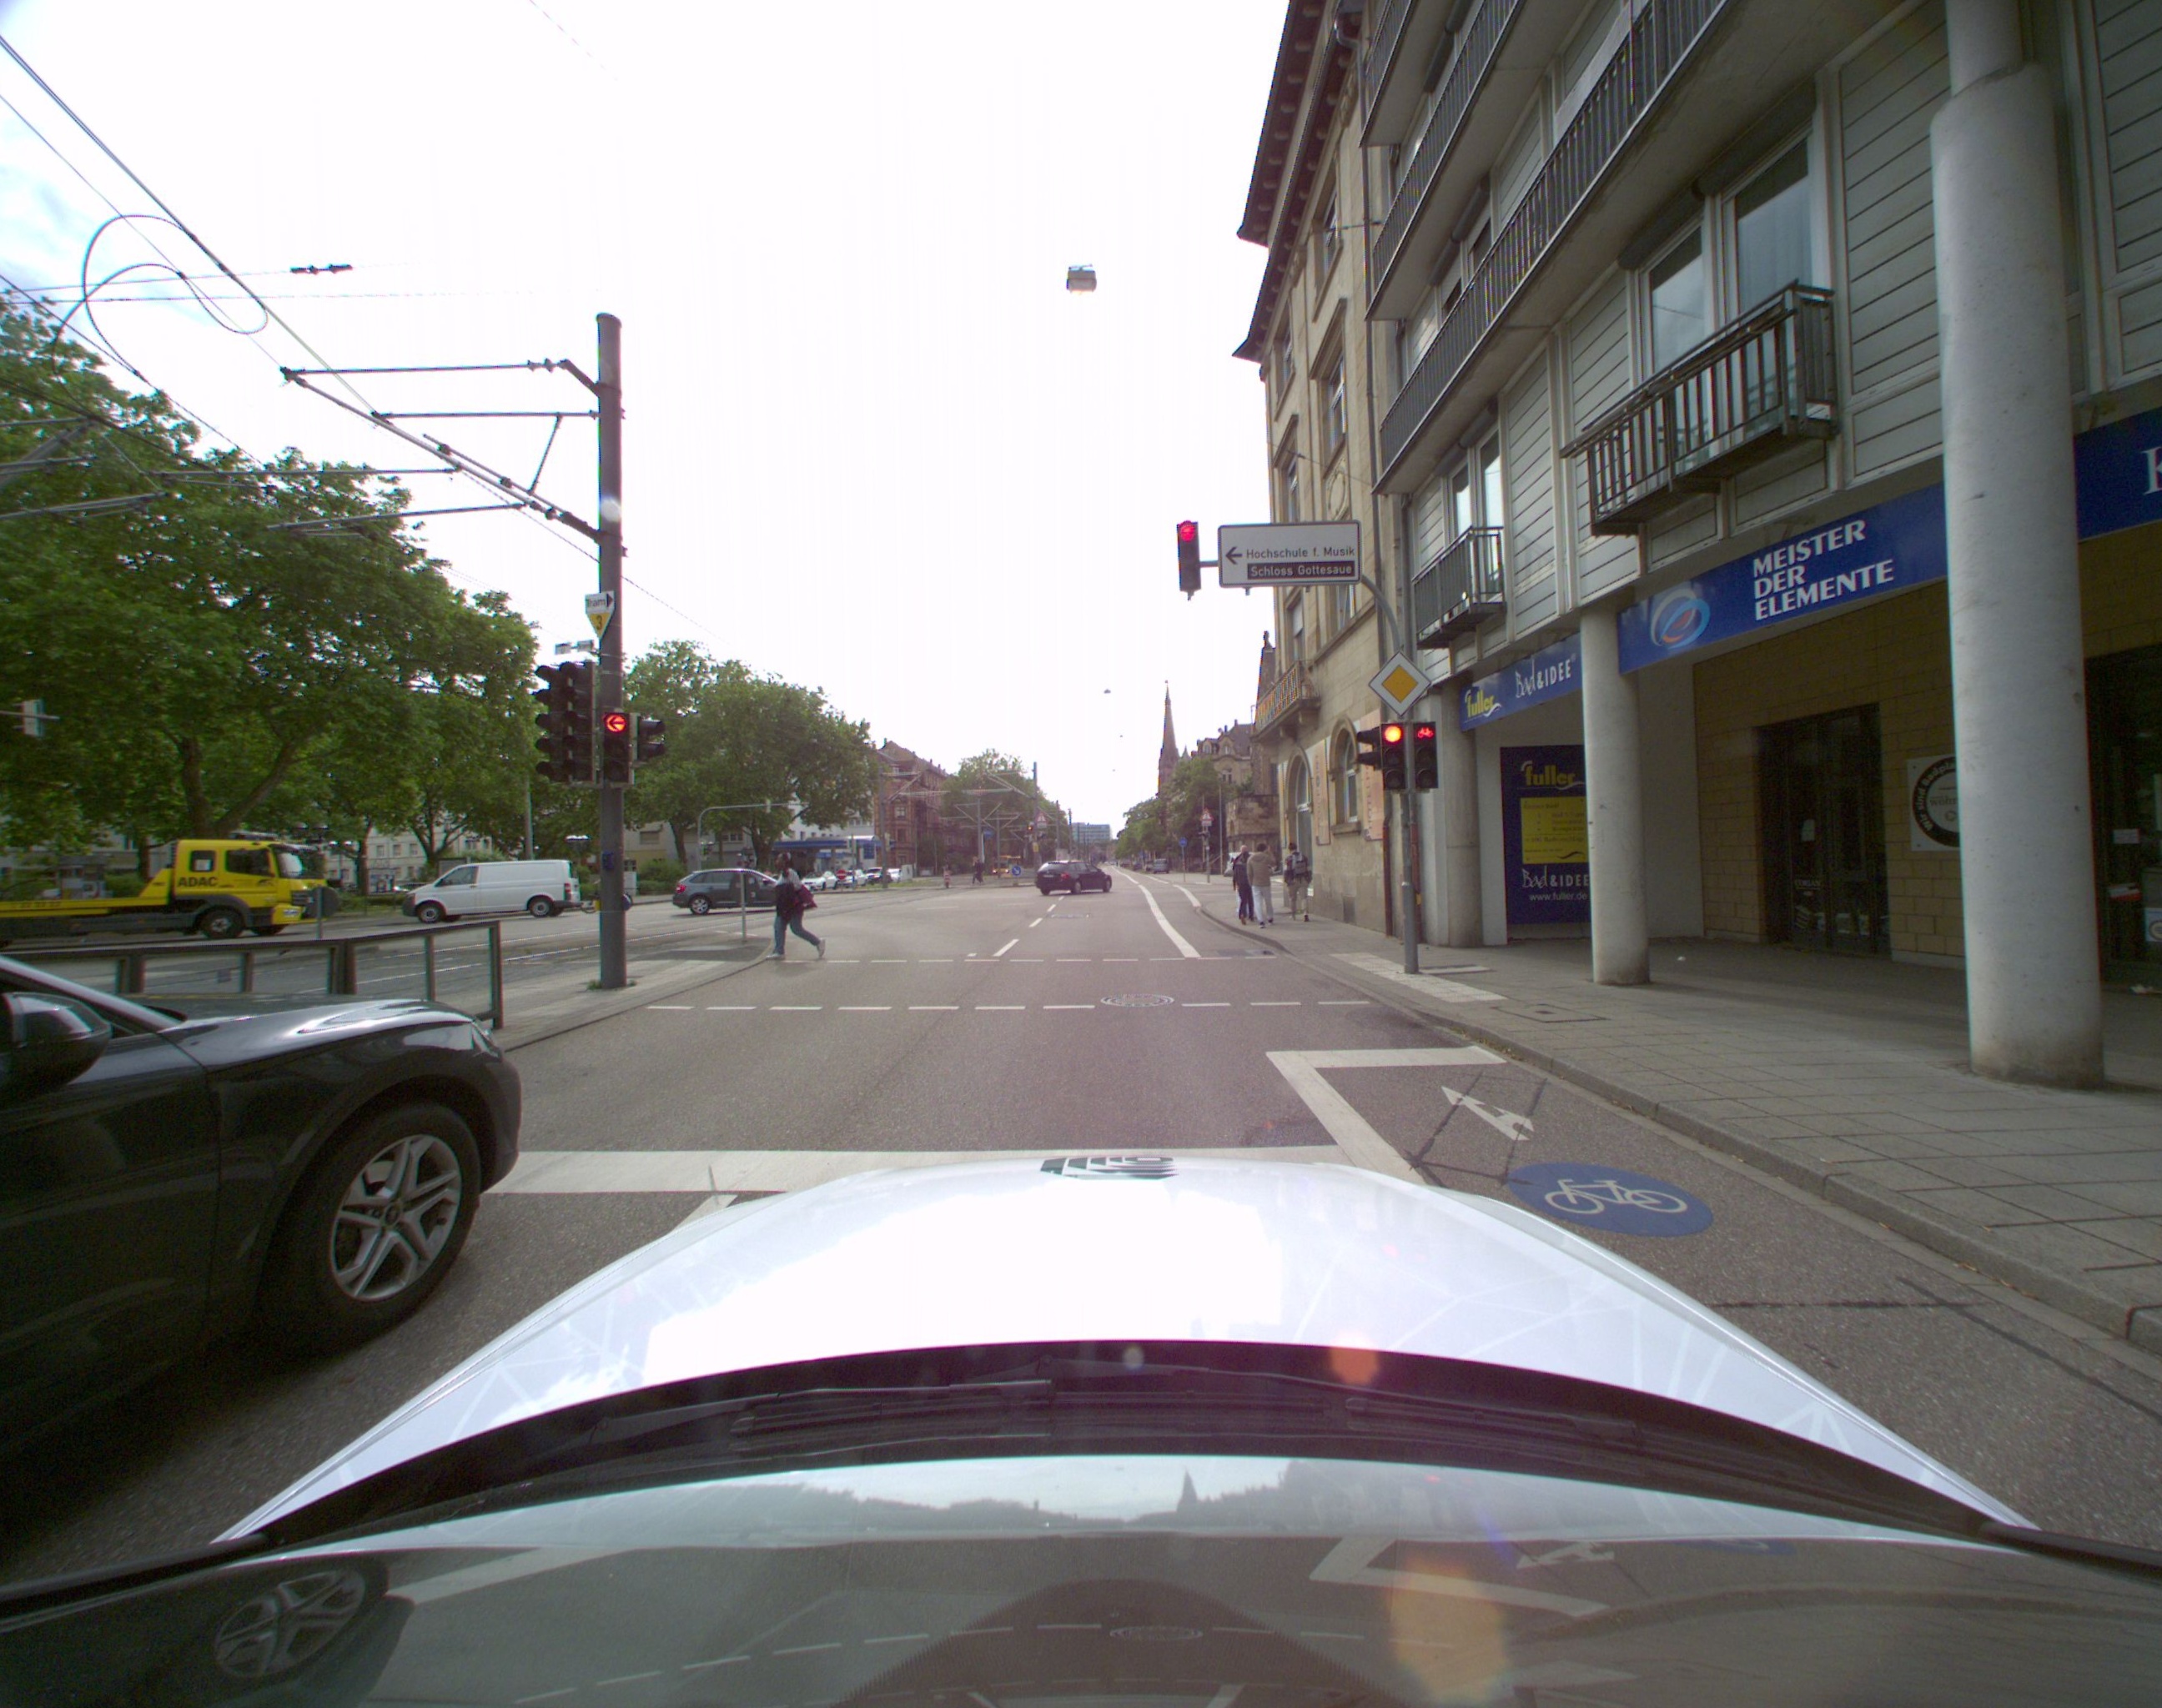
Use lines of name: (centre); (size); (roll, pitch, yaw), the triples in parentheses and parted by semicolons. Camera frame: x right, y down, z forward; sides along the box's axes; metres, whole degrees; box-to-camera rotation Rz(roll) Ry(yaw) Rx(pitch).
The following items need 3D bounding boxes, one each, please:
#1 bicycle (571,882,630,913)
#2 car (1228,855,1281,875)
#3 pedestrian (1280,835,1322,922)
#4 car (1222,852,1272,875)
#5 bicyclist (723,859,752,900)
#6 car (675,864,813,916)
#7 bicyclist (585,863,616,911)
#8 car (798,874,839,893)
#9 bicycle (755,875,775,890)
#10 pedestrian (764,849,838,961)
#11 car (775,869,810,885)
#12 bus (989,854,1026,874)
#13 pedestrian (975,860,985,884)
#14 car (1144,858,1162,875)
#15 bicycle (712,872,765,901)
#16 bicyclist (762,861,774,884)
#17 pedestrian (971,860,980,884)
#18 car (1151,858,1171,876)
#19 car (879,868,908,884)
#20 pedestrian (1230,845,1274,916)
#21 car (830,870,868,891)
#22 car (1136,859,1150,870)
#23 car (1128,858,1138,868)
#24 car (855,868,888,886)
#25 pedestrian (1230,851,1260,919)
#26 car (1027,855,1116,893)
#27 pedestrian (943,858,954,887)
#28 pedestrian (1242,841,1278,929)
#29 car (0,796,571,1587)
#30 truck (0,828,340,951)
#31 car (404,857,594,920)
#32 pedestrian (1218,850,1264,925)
bicycle: (-18.483, 1.657, 31.353); (1.910, 1.142, 0.623); (0, -1, -28)
car: (13.751, 0.879, 64.735); (3.785, 1.601, 2.001); (0, -1, 1)
pedestrian: (4.772, 0.527, 17.731); (0.622, 1.778, 1.137); (-4, -2, 9)
car: (13.862, 0.781, 68.147); (3.785, 1.904, 2.001); (0, -1, 1)
bicyclist: (-14.180, 1.045, 33.617); (1.041, 1.683, 0.641); (0, -1, -19)
car: (-10.950, 1.132, 26.627); (3.997, 1.469, 1.827); (-2, 0, -23)
bicyclist: (-18.511, 1.264, 31.365); (0.970, 1.819, 0.527); (0, -1, -27)
car: (-19.147, 2.143, 59.531); (1.628, 1.325, 4.001); (0, -1, 2)
bicycle: (-21.566, 1.924, 55.641); (0.520, 1.017, 1.937); (0, -1, 2)
pedestrian: (-4.367, 0.766, 12.702); (0.663, 1.680, 0.874); (-1, -1, 40)
car: (-28.746, 2.275, 81.327); (1.986, 1.530, 4.001); (0, -1, 2)
bus: (-12.280, 1.718, 137.728); (3.066, 3.112, 13.126); (0, -1, 9)
pedestrian: (-6.432, 1.160, 51.880); (0.651, 1.537, 0.465); (0, -1, -3)
car: (8.827, 1.550, 99.633); (1.986, 2.014, 4.001); (0, -1, 1)
bicycle: (-14.120, 1.343, 33.633); (1.943, 1.136, 0.731); (0, -1, -19)
bicyclist: (-21.542, 1.295, 55.992); (0.585, 1.568, 0.619); (0, -1, 1)
pedestrian: (-6.814, 1.164, 52.489); (0.544, 1.537, 0.465); (0, -1, -3)
car: (8.811, 1.434, 90.105); (1.986, 2.014, 4.001); (0, -1, 1)
car: (-18.320, 2.122, 79.750); (1.887, 1.557, 3.837); (0, -1, 2)
pedestrian: (4.408, 0.682, 21.041); (0.906, 1.784, 0.651); (-1, -1, 39)
car: (-18.754, 2.124, 65.939); (1.887, 1.557, 3.837); (0, -1, 2)
car: (9.717, 1.678, 128.446); (1.986, 1.607, 4.165); (-3, -1, 1)
car: (10.961, 1.920, 172.391); (1.986, 2.014, 4.001); (0, -1, 2)
car: (-18.700, 2.062, 72.922); (1.887, 1.557, 3.837); (0, -1, 2)
pedestrian: (3.967, 0.742, 19.746); (0.696, 1.593, 0.833); (0, -1, 10)
car: (-0.341, 0.853, 35.767); (1.788, 1.586, 4.368); (-1, -1, 32)
pedestrian: (-8.123, 1.125, 49.831); (0.571, 1.794, 0.518); (0, -1, -3)
pedestrian: (3.796, 0.641, 17.246); (0.578, 1.813, 1.020); (0, -1, 21)
car: (-3.144, 0.693, 1.271); (1.873, 1.601, 4.358); (-1, -1, 1)
truck: (-26.082, 0.854, 20.827); (10.190, 2.941, 2.617); (-1, -1, -23)
car: (-19.453, 1.099, 27.537); (4.886, 1.967, 1.973); (0, -1, -24)
pedestrian: (3.668, 0.752, 18.614); (0.620, 1.653, 1.003); (-1, -1, 39)
